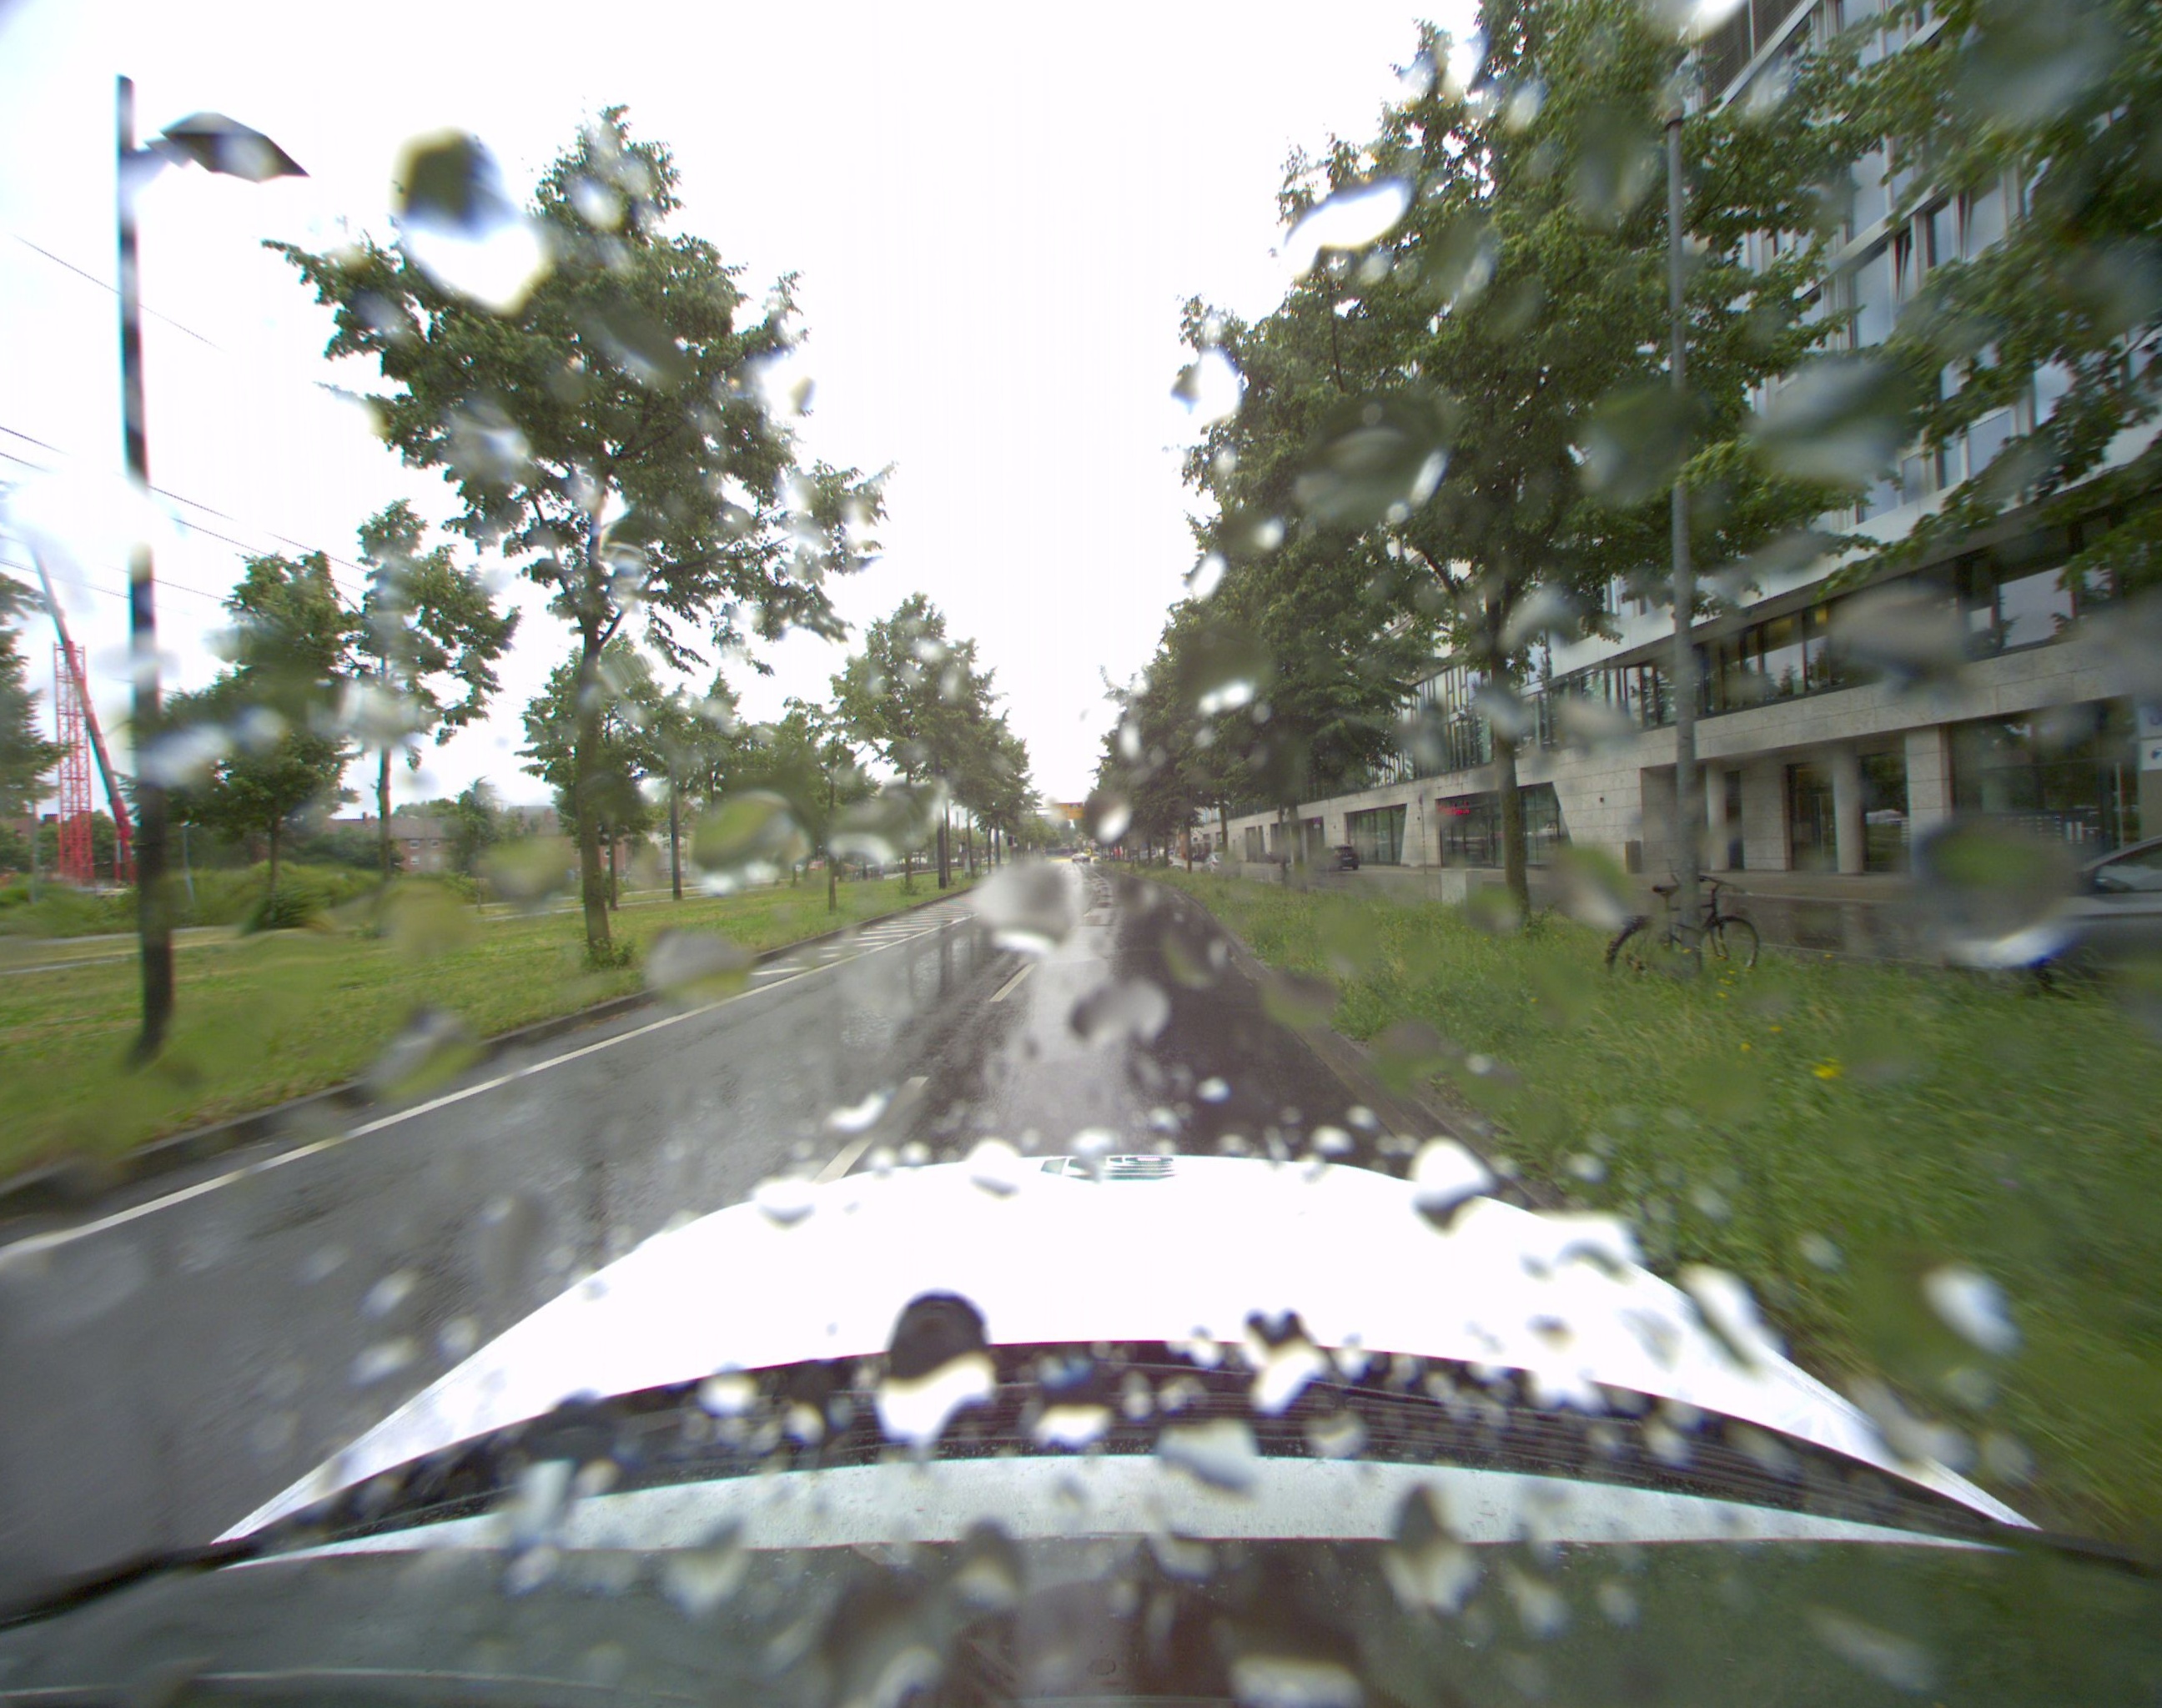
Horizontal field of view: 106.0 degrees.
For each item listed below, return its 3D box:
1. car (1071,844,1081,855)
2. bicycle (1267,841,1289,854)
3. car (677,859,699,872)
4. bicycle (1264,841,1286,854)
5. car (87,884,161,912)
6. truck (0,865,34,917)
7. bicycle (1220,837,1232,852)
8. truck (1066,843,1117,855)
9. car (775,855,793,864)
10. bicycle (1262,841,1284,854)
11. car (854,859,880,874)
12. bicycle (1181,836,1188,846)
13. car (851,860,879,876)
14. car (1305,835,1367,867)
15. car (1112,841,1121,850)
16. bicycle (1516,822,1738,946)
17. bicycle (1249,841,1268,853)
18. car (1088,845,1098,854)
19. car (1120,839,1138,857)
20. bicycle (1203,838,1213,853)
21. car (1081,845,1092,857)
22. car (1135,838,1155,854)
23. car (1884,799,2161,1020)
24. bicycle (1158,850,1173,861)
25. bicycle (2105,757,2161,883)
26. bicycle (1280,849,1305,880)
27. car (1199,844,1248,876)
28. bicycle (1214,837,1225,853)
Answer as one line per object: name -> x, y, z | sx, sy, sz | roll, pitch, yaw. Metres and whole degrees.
car -> -1.096, -0.916, 170.190 | 1.882, 2.013, 4.000 | -3, 3, 0
bicycle -> 17.248, -0.568, 71.163 | 1.800, 1.028, 0.401 | -3, 0, 1
car -> -70.656, 2.013, 146.567 | 1.988, 2.013, 3.999 | -3, 3, -1
bicycle -> 17.137, -0.590, 71.828 | 1.800, 1.028, 0.541 | -3, 0, 1
car -> -80.012, 3.653, 68.166 | 1.825, 1.815, 3.985 | -3, 3, -11
truck -> -116.761, 4.269, 82.904 | 6.206, 5.394, 13.218 | -4, 3, -21
bicycle -> 17.020, -1.134, 95.584 | 0.770, 1.722, 3.119 | -3, 3, -1
truck -> 3.213, -1.575, 245.686 | 14.847, 3.147, 3.514 | -2, 0, -8
car -> -64.700, 1.190, 177.298 | 3.549, 1.738, 1.692 | -4, 3, -25
bicycle -> 17.187, -0.589, 73.044 | 1.800, 1.028, 0.541 | -3, 0, 1
car -> -21.234, 1.253, 80.846 | 1.485, 1.298, 4.969 | -4, -2, -4
bicycle -> 16.315, -2.056, 128.403 | 0.664, 1.534, 2.764 | -3, 3, -1
car -> -21.394, 1.353, 80.829 | 1.545, 1.266, 4.848 | -3, 2, -3
car -> 14.807, -0.247, 47.561 | 1.987, 1.500, 5.036 | -7, 1, 1
car -> 8.818, -2.114, 204.750 | 1.987, 2.013, 4.001 | -3, 3, 0
bicycle -> 5.841, 0.308, 8.755 | 2.029, 1.196, 0.491 | -3, 0, -1
bicycle -> 16.985, -0.649, 77.884 | 1.687, 1.028, 0.423 | -3, 0, 1
car -> 2.840, -1.066, 189.316 | 1.985, 2.013, 4.004 | -3, 3, 3
car -> 6.672, -0.848, 113.516 | 2.115, 2.274, 4.563 | -3, 1, -1
bicycle -> 16.424, -1.126, 105.512 | 0.643, 1.722, 3.119 | -3, 3, -1
car -> 1.002, -0.658, 153.841 | 1.934, 2.013, 4.000 | -3, 3, 0
car -> 7.448, -0.949, 95.096 | 1.900, 1.791, 4.686 | -3, 1, -1
car -> 8.304, 0.370, 5.780 | 1.620, 1.490, 3.655 | -3, 3, 0
bicycle -> 7.224, 0.117, 69.540 | 1.281, 0.874, 0.301 | -3, 0, 8
bicycle -> 17.323, -0.578, 12.274 | 2.668, 1.860, 0.708 | -3, 1, 4
bicycle -> 6.518, 0.318, 25.176 | 0.341, 0.822, 1.904 | -3, 3, 3
car -> 8.006, 0.290, 46.167 | 1.875, 1.505, 4.723 | -3, 3, -1
bicycle -> 16.235, -1.107, 95.786 | 0.643, 1.722, 3.119 | -3, 3, -1
